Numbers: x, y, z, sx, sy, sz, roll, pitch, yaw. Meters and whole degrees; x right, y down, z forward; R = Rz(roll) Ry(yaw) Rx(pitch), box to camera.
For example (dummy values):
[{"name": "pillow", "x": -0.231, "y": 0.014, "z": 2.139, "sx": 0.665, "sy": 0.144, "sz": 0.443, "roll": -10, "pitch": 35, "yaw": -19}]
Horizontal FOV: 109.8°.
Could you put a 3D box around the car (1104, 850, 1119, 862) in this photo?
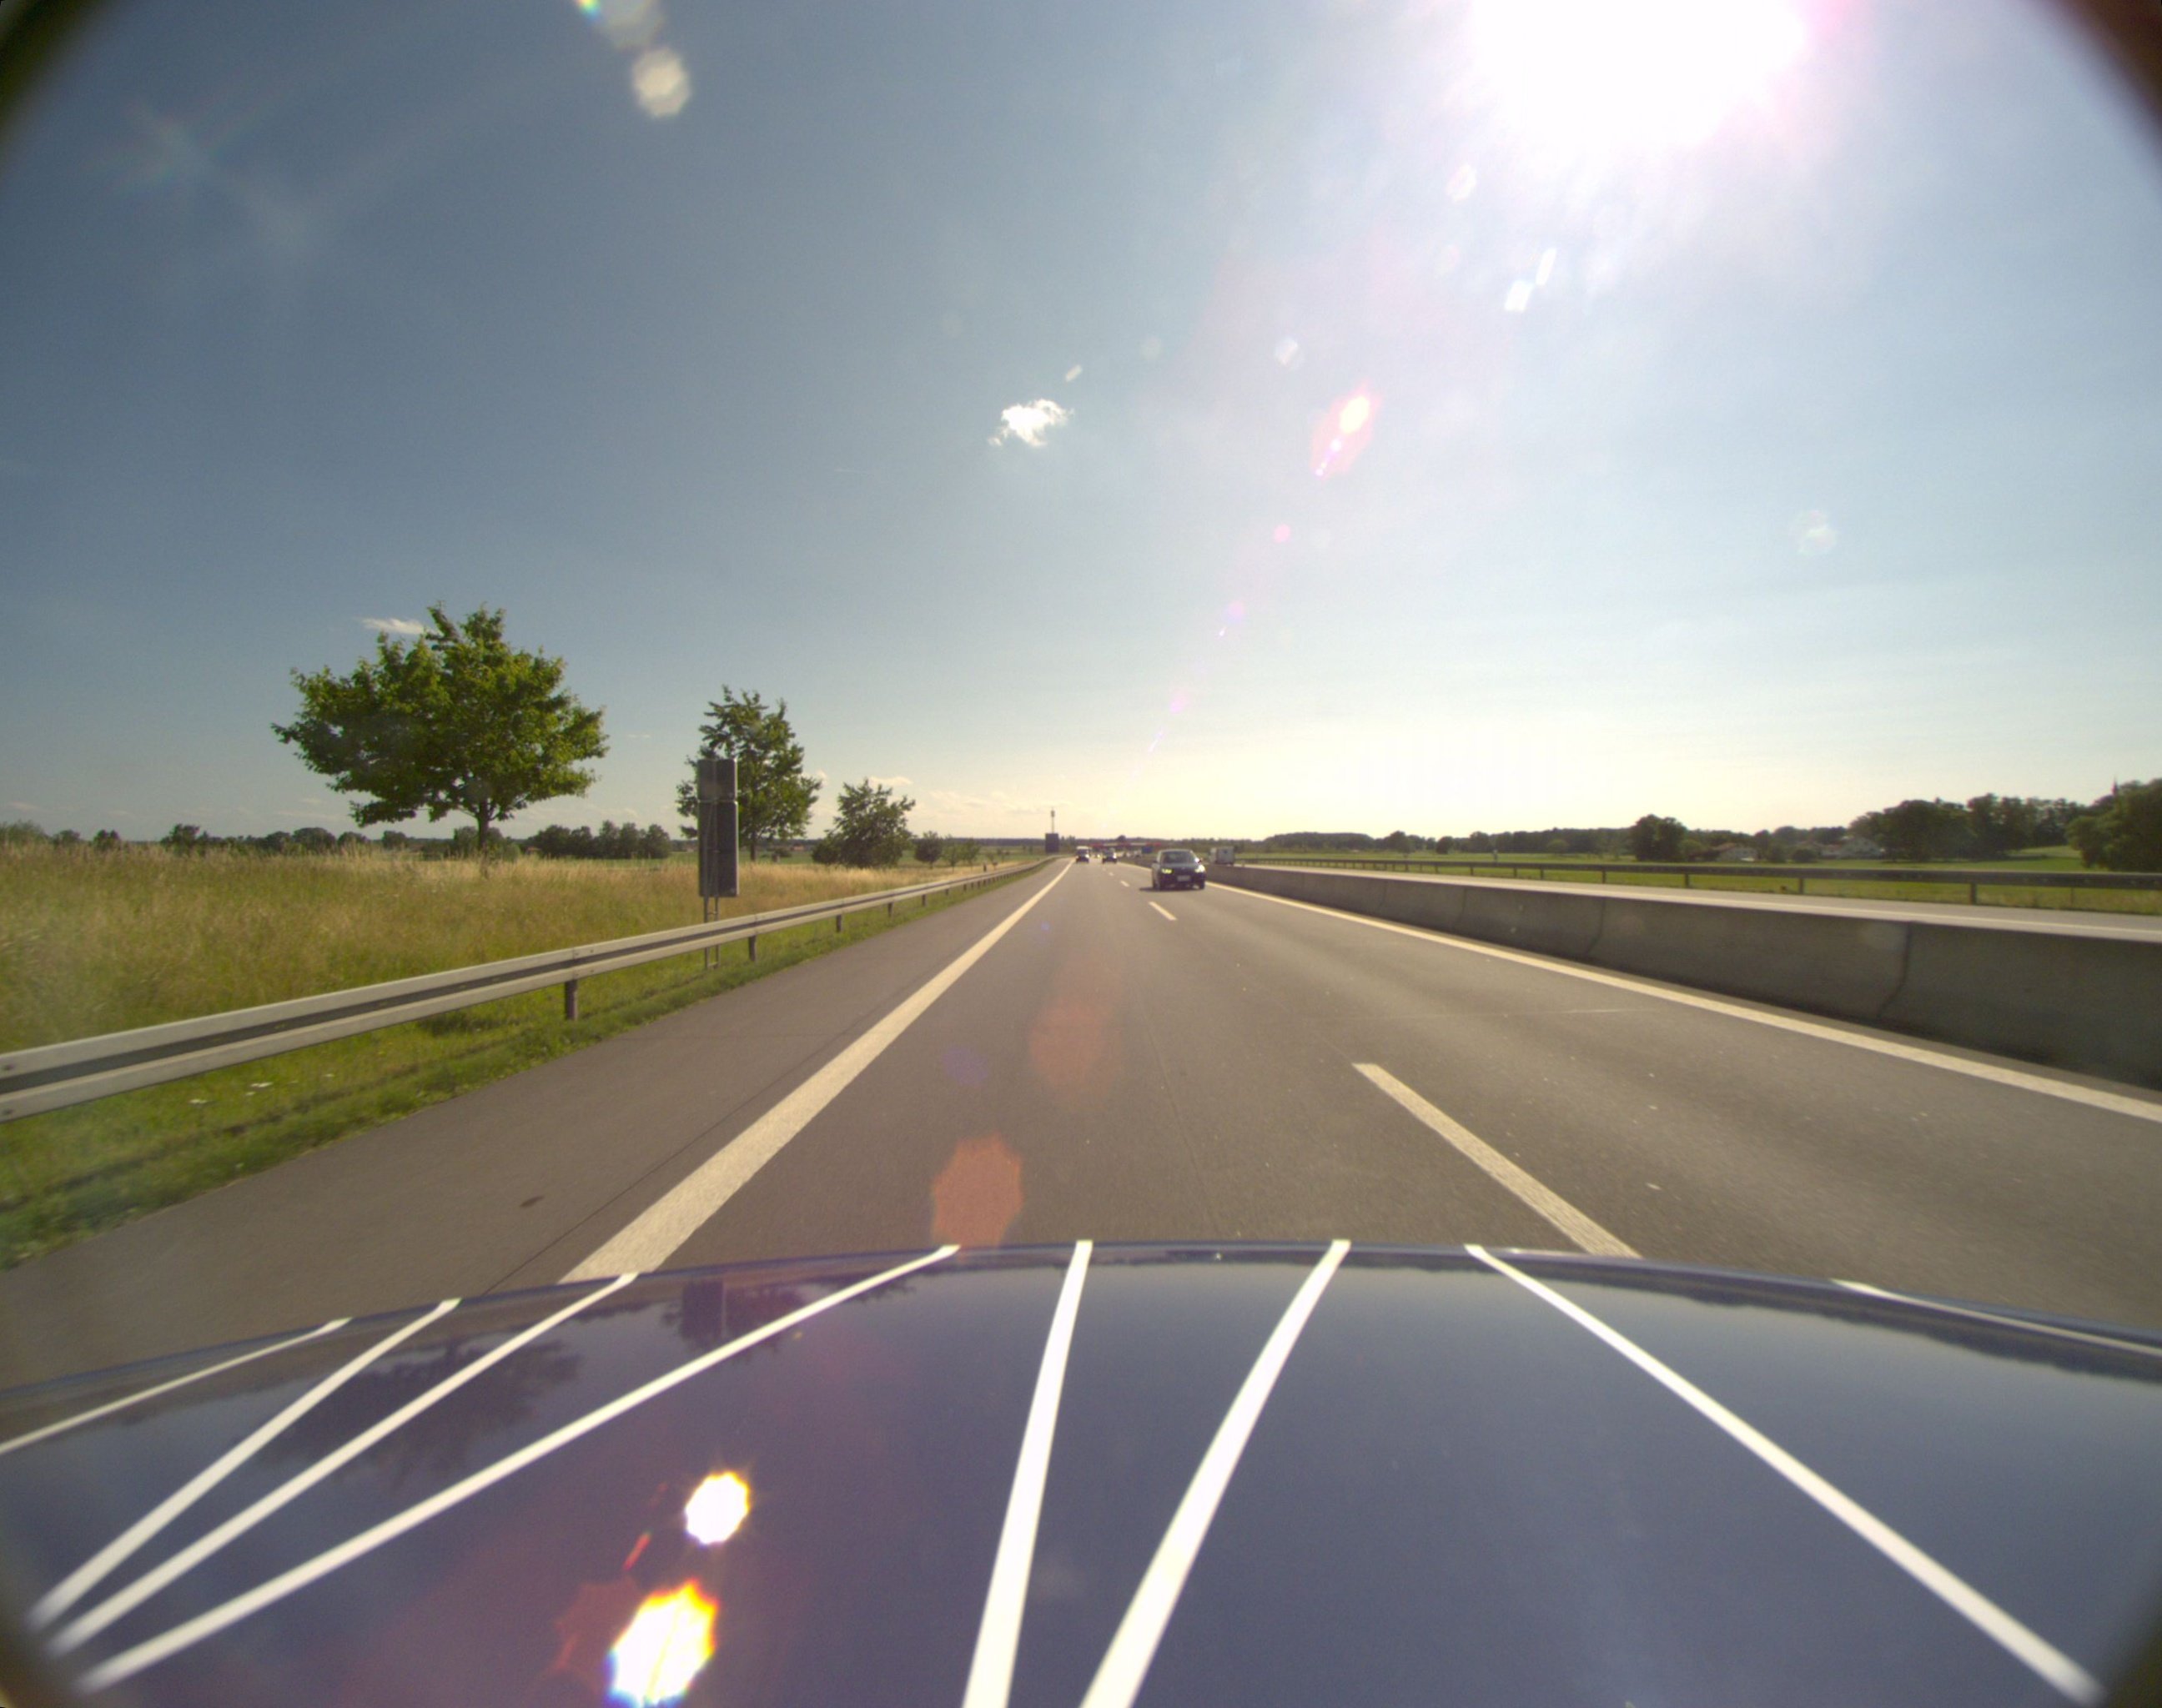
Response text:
[{"name": "car", "x": 4.314, "y": 0.244, "z": 108.553, "sx": 2.030, "sy": 1.600, "sz": 4.818, "roll": -1, "pitch": 0, "yaw": 1}]

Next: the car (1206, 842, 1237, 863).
[{"name": "car", "x": 14.444, "y": -0.212, "z": 78.375, "sx": 1.999, "sy": 2.002, "sz": 5.714, "roll": -3, "pitch": 1, "yaw": -1}]

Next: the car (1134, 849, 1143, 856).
[{"name": "car", "x": 14.726, "y": -0.428, "z": 195.403, "sx": 1.912, "sy": 1.675, "sz": 5.007, "roll": -3, "pitch": 0, "yaw": 1}]

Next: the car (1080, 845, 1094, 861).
[{"name": "car", "x": 0.899, "y": -0.201, "z": 110.345, "sx": 2.030, "sy": 2.225, "sz": 4.818, "roll": 1, "pitch": 1, "yaw": 2}]

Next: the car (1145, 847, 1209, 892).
[{"name": "car", "x": 3.886, "y": 0.560, "z": 31.481, "sx": 2.030, "sy": 1.600, "sz": 4.817, "roll": -3, "pitch": 1, "yaw": 1}]
